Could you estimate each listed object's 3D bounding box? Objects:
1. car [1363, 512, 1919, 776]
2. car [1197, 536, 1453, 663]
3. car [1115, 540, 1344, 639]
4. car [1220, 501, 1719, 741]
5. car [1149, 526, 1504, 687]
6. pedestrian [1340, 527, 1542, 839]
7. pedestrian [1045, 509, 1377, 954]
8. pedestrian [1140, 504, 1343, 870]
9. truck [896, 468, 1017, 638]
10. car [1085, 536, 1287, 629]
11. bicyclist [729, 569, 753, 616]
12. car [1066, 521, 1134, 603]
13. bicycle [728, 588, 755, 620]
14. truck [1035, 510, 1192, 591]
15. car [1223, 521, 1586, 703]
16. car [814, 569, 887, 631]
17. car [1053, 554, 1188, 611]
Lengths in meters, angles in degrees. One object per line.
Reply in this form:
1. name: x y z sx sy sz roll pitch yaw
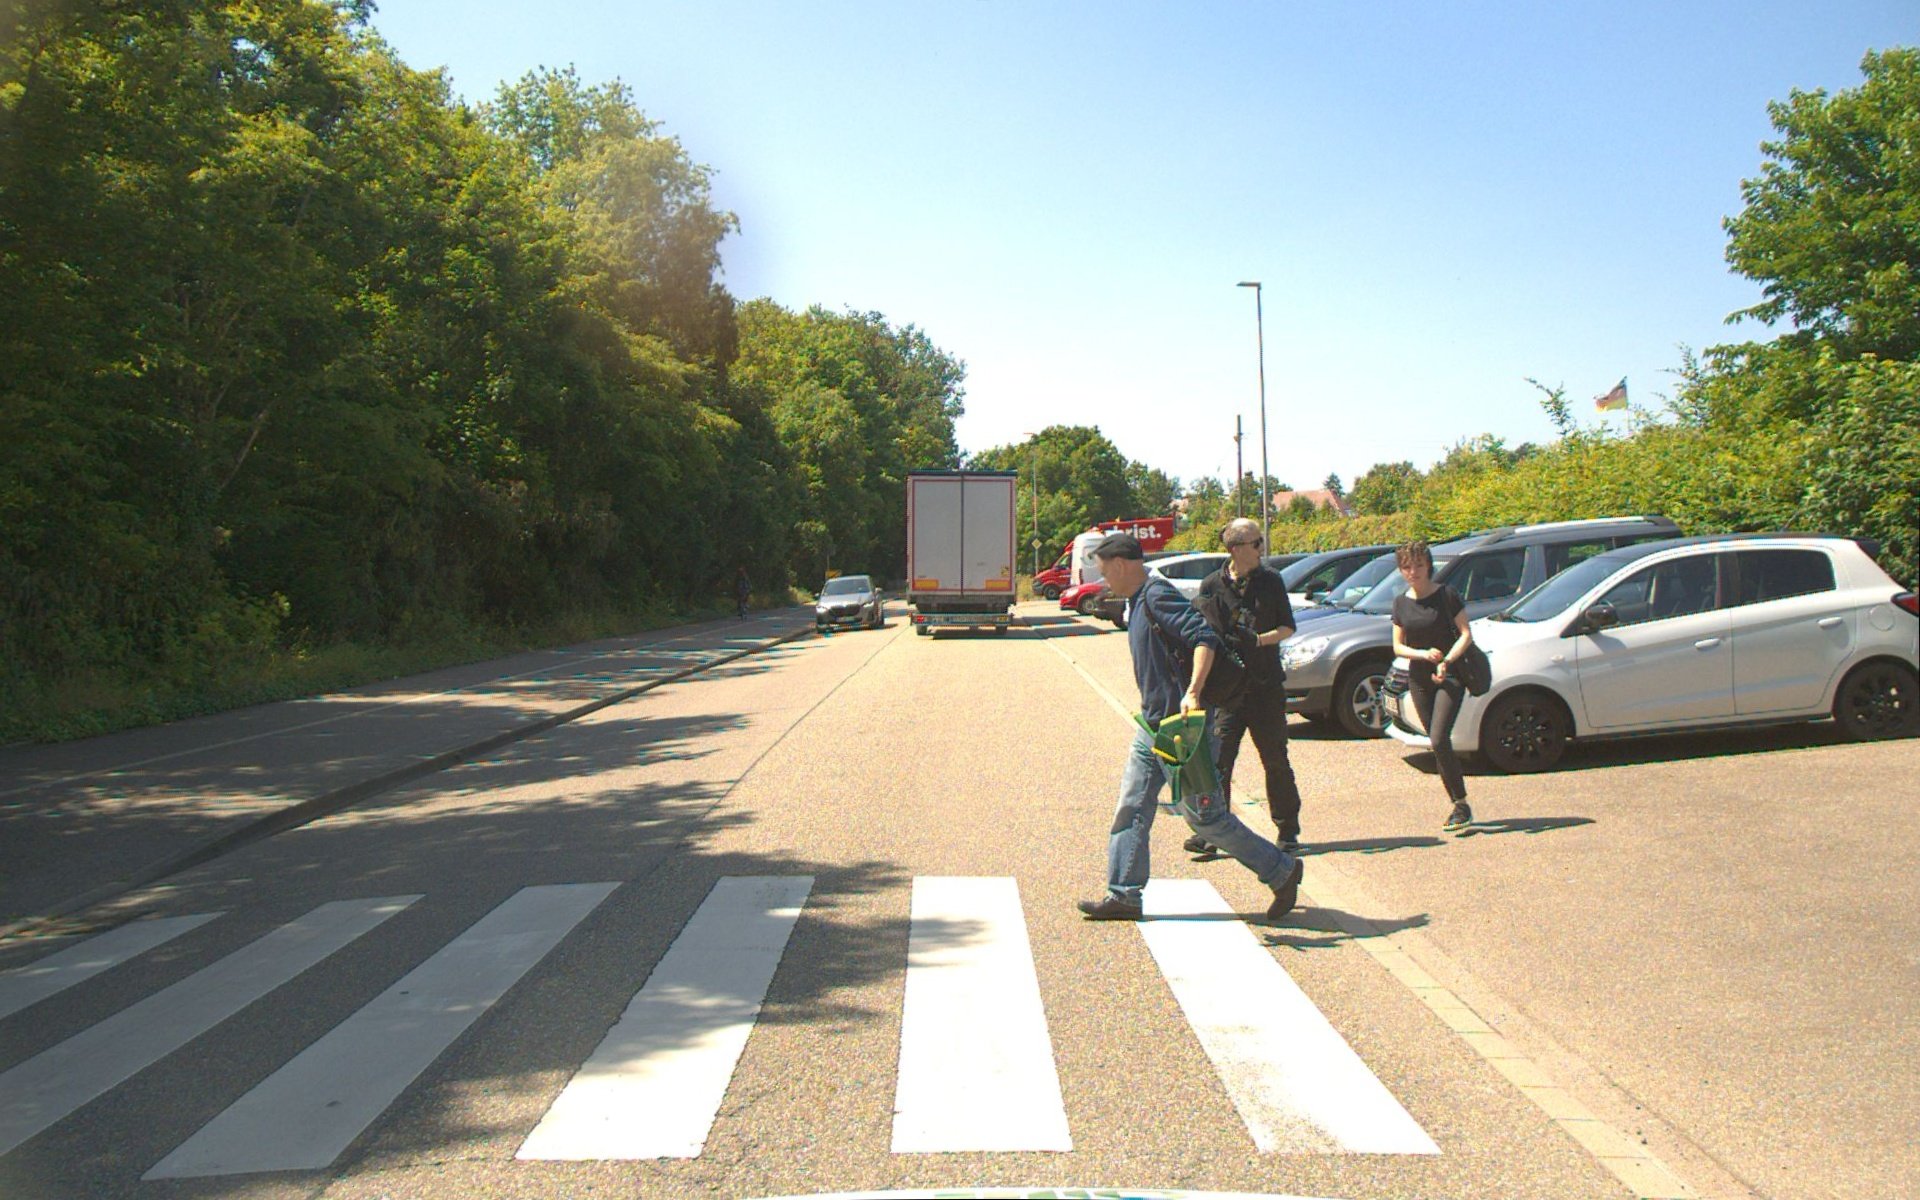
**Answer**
1. car: 4.993 0.280 12.148 3.613 1.475 1.611 -6 1 3
2. car: 5.189 -0.034 23.817 3.317 1.529 1.589 -4 2 3
3. car: 5.371 -0.234 33.271 4.191 1.605 1.765 -5 1 -2
4. car: 4.534 0.153 15.016 3.885 1.668 1.662 -6 1 -6
5. car: 4.540 0.053 20.816 3.888 1.549 1.862 -6 1 -6
6. pedestrian: 2.732 0.453 9.359 0.764 1.638 0.895 -5 0 31
7. pedestrian: 1.071 0.520 7.290 1.135 1.782 1.020 -1 0 -12
8. pedestrian: 1.588 0.437 9.234 0.767 1.897 1.084 1 1 31
9. truck: 0.010 -1.190 44.177 2.677 3.811 13.248 -1 1 1
10. car: 5.341 -0.420 39.480 4.366 1.836 1.951 -5 1 -4
11. bicyclist: -7.604 -0.260 57.425 0.635 1.592 0.837 -2 1 4
12. car: 5.231 -1.469 62.877 1.914 2.780 7.169 -4 1 1
13. bicycle: -7.583 0.136 57.414 0.549 1.045 1.840 -2 1 4
14. truck: 7.173 -2.306 76.935 6.984 3.499 2.333 -2 2 11
15. car: 4.760 0.105 17.951 3.387 1.553 1.538 -6 1 -5
16. car: -3.191 -0.038 48.974 1.853 1.558 4.196 -6 1 -1
17. car: 5.043 -0.556 52.341 3.974 1.458 1.835 -5 1 -3
